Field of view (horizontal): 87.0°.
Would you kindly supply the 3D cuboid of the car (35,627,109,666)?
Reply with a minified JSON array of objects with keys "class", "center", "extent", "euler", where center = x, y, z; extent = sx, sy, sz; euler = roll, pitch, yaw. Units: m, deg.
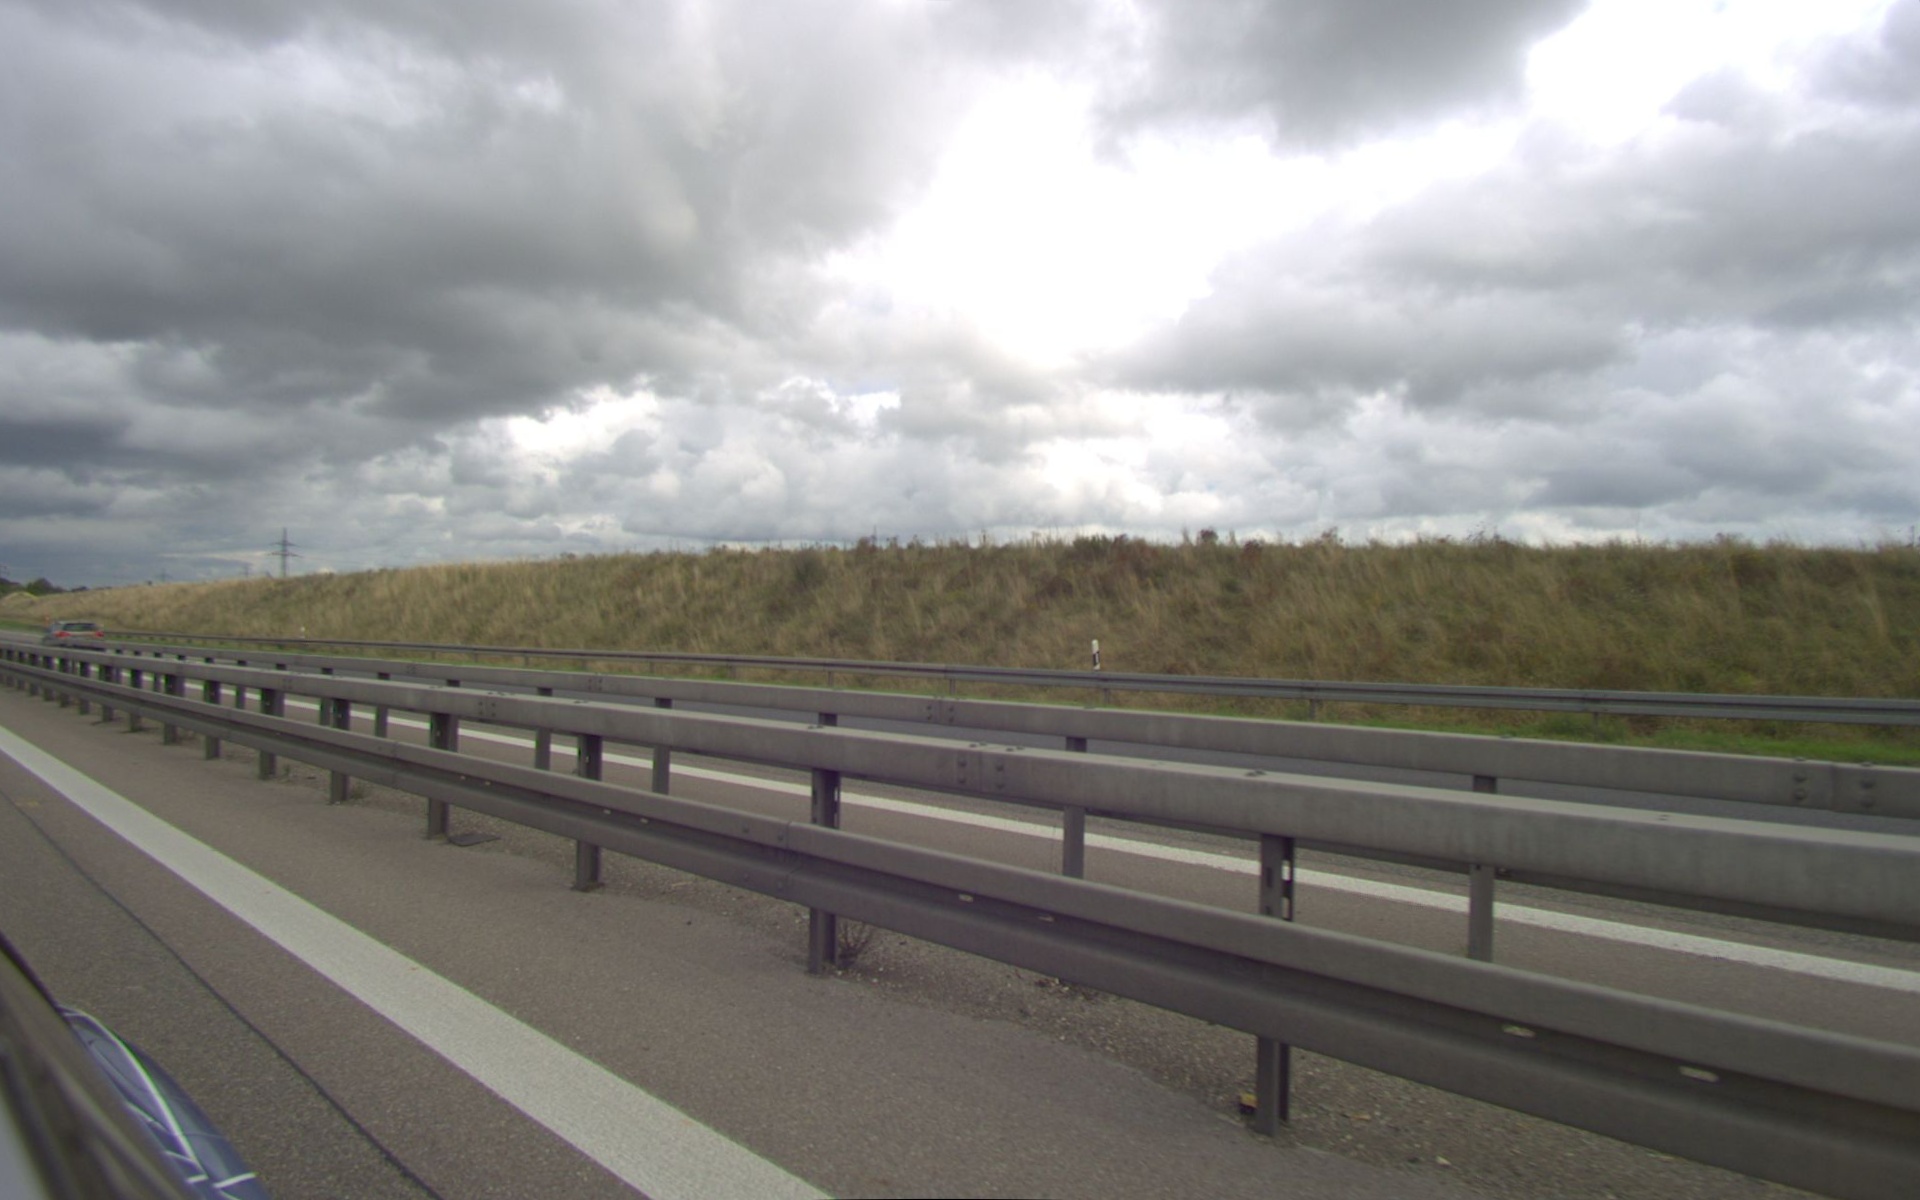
[{"class":"car","center":[-39.383,2.015,44.839],"extent":[4.728,1.524,1.886],"euler":[0,-1,42]}]
